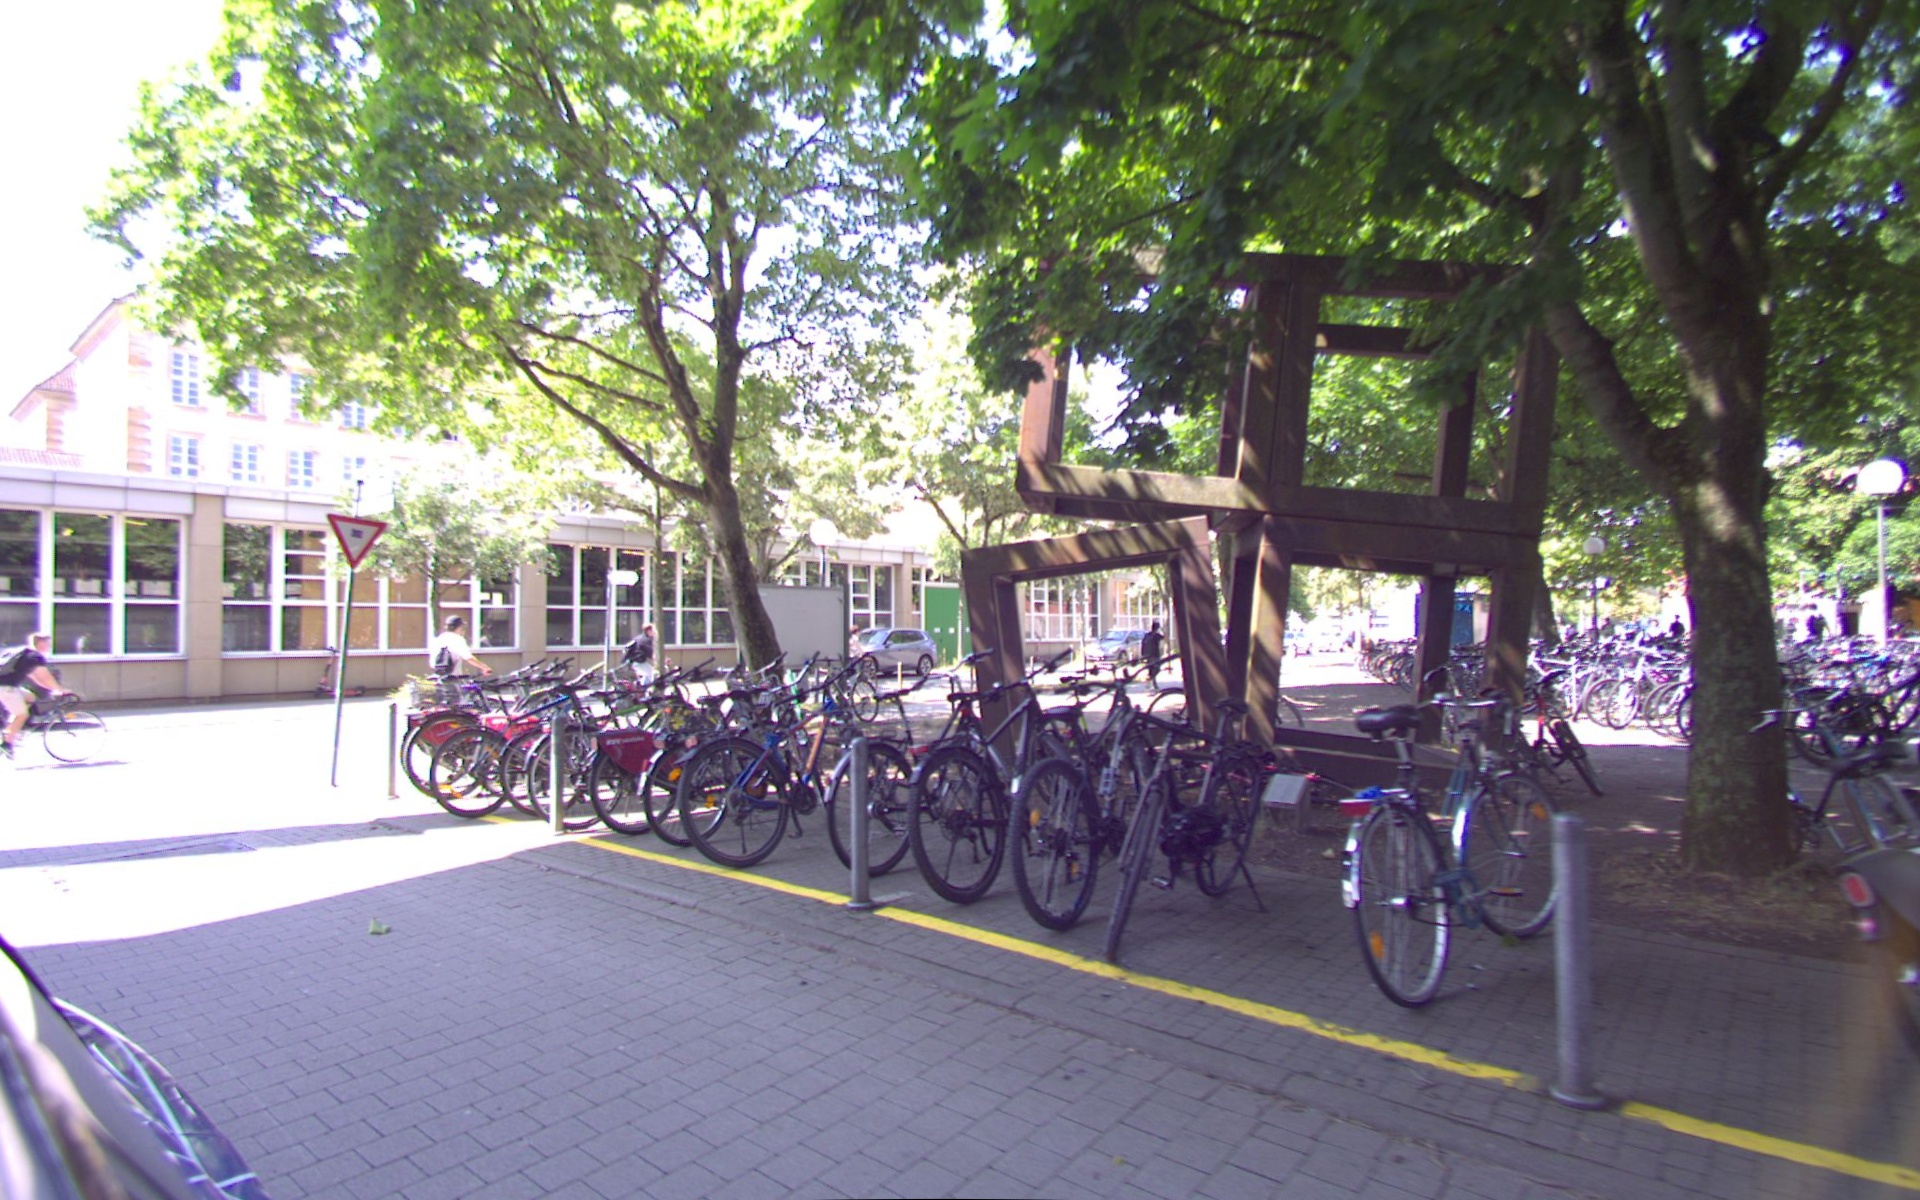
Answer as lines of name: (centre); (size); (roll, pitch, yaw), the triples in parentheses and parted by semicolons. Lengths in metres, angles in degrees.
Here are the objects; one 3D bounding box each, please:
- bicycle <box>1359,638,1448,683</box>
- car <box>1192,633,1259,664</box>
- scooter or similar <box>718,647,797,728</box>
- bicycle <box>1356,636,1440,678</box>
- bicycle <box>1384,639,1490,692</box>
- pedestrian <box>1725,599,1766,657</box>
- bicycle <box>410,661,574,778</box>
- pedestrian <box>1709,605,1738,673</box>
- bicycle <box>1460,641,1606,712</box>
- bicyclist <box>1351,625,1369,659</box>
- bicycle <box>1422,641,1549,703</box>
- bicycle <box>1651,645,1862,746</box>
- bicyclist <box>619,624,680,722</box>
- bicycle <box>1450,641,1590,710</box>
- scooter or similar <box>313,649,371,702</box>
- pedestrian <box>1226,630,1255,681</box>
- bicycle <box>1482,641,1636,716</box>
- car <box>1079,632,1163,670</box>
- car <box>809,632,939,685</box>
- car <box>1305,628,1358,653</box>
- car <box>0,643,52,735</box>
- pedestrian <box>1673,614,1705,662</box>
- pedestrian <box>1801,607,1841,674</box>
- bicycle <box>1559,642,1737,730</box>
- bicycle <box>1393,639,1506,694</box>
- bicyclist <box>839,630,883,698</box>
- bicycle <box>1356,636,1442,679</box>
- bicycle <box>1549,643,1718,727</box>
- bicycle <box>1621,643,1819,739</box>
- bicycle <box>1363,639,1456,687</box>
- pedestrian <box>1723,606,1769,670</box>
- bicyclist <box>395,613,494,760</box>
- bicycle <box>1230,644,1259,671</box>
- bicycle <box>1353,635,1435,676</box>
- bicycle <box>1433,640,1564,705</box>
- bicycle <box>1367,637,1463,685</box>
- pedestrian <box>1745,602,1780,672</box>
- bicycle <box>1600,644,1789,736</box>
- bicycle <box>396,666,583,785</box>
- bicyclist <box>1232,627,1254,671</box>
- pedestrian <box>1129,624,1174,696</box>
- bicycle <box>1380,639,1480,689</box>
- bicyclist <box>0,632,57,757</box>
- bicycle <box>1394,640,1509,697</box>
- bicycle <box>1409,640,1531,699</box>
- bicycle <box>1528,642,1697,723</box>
bicycle: (11.296, 1.547, 25.822); (2.010, 1.116, 0.500); (-1, -1, 14)
car: (14.344, 2.596, 54.543); (1.836, 1.553, 4.480); (-3, -3, 38)
scooter or similar: (-3.133, 1.344, 15.651); (1.165, 1.204, 0.293); (0, -2, -14)
bicycle: (11.981, 1.550, 27.732); (2.010, 1.116, 0.500); (-1, -1, 14)
bicycle: (10.452, 1.431, 22.228); (2.010, 1.116, 0.500); (-1, -1, 14)
pedestrian: (24.806, 0.877, 31.970); (0.765, 1.788, 0.900); (-1, -1, 23)
bicycle: (-5.135, 1.289, 11.199); (1.601, 1.168, 0.641); (-1, -3, -21)
pedestrian: (20.162, 1.024, 26.736); (0.501, 1.785, 0.663); (-2, -1, 32)
bicycle: (9.333, 1.238, 16.538); (1.984, 1.116, 0.501); (-1, -1, 11)
bicyclist: (22.536, 2.345, 57.009); (0.668, 1.889, 0.817); (-3, -4, 35)
bicycle: (9.725, 1.337, 18.773); (2.007, 1.116, 0.501); (-1, -1, 8)
bicycle: (9.174, 1.095, 11.708); (1.884, 1.116, 0.501); (-1, -1, 8)
bicyclist: (-6.265, 1.444, 20.444); (0.674, 1.902, 0.957); (-1, -1, 37)
bicycle: (9.445, 1.273, 17.122); (1.984, 1.116, 0.501); (-1, -1, 11)
scooter or similar: (-14.873, 1.801, 24.374); (0.289, 1.235, 1.142); (-3, -3, 43)
pedestrian: (8.661, 1.691, 31.270); (0.570, 1.531, 0.830); (-2, -2, 36)
bicycle: (9.308, 1.212, 15.775); (1.984, 1.116, 0.501); (-1, -1, 11)
car: (7.378, 2.295, 46.141); (1.836, 1.646, 4.480); (-3, -3, 38)
car: (-2.820, 1.922, 34.285); (1.836, 1.630, 4.480); (0, -1, 38)
car: (24.007, 2.607, 65.315); (1.836, 1.553, 4.480); (-3, -3, 38)
car: (-17.746, 1.524, 16.536); (1.652, 1.487, 4.155); (0, -1, 40)
pedestrian: (28.064, 1.450, 38.956); (0.765, 1.816, 0.900); (-1, -1, 23)
pedestrian: (23.448, 1.097, 27.556); (0.769, 1.788, 0.895); (-2, -2, 41)
bicycle: (9.144, 1.135, 13.502); (1.886, 1.116, 0.501); (-1, -1, 11)
bicycle: (10.167, 1.375, 21.077); (2.010, 1.116, 0.500); (-1, -1, 14)
bicyclist: (-2.392, 1.528, 24.451); (0.639, 1.585, 0.864); (0, -2, 37)
bicycle: (11.744, 1.549, 27.119); (2.010, 1.116, 0.500); (-1, -1, 14)
bicycle: (9.359, 1.178, 14.110); (1.886, 1.116, 0.501); (-1, -1, 11)
bicycle: (9.165, 1.089, 12.255); (1.884, 1.116, 0.501); (-1, -1, 8)
bicycle: (10.981, 1.536, 24.768); (2.010, 1.116, 0.500); (-1, -1, 14)
pedestrian: (22.274, 1.069, 28.705); (0.765, 1.788, 0.900); (-1, -1, 23)
bicyclist: (-6.986, 1.145, 13.737); (0.799, 1.906, 0.862); (-1, 0, 19)
bicycle: (12.129, 2.449, 43.100); (0.603, 1.116, 2.050); (-3, -3, 32)
bicycle: (12.085, 1.556, 28.246); (2.010, 1.116, 0.500); (-1, -1, 14)
bicycle: (9.646, 1.299, 18.183); (2.007, 1.116, 0.501); (-1, -1, 8)
bicycle: (10.838, 1.453, 24.157); (2.010, 1.116, 0.500); (-1, -1, 14)
pedestrian: (20.831, 0.948, 26.278); (0.608, 1.788, 0.651); (-2, -2, 34)
bicycle: (9.333, 1.139, 12.915); (1.886, 1.116, 0.501); (-1, -1, 11)
bicycle: (-4.881, 1.281, 10.605); (1.716, 1.116, 0.592); (-1, -3, -19)
bicyclist: (12.013, 2.086, 42.954); (0.603, 1.815, 0.889); (-3, -3, 32)
pedestrian: (4.599, 1.428, 24.313); (0.727, 1.697, 0.863); (-3, -3, 37)
bicycle: (10.807, 1.460, 23.318); (2.010, 1.116, 0.500); (-1, -1, 14)
bicyclist: (-12.146, 1.193, 13.001); (0.605, 1.546, 0.717); (0, -1, 42)
bicycle: (9.967, 1.380, 20.573); (2.010, 1.116, 0.500); (-1, -1, 14)
bicycle: (9.823, 1.339, 19.538); (2.007, 1.116, 0.501); (-1, -1, 8)
bicycle: (9.409, 1.185, 14.650); (1.984, 1.116, 0.501); (-1, -1, 11)
